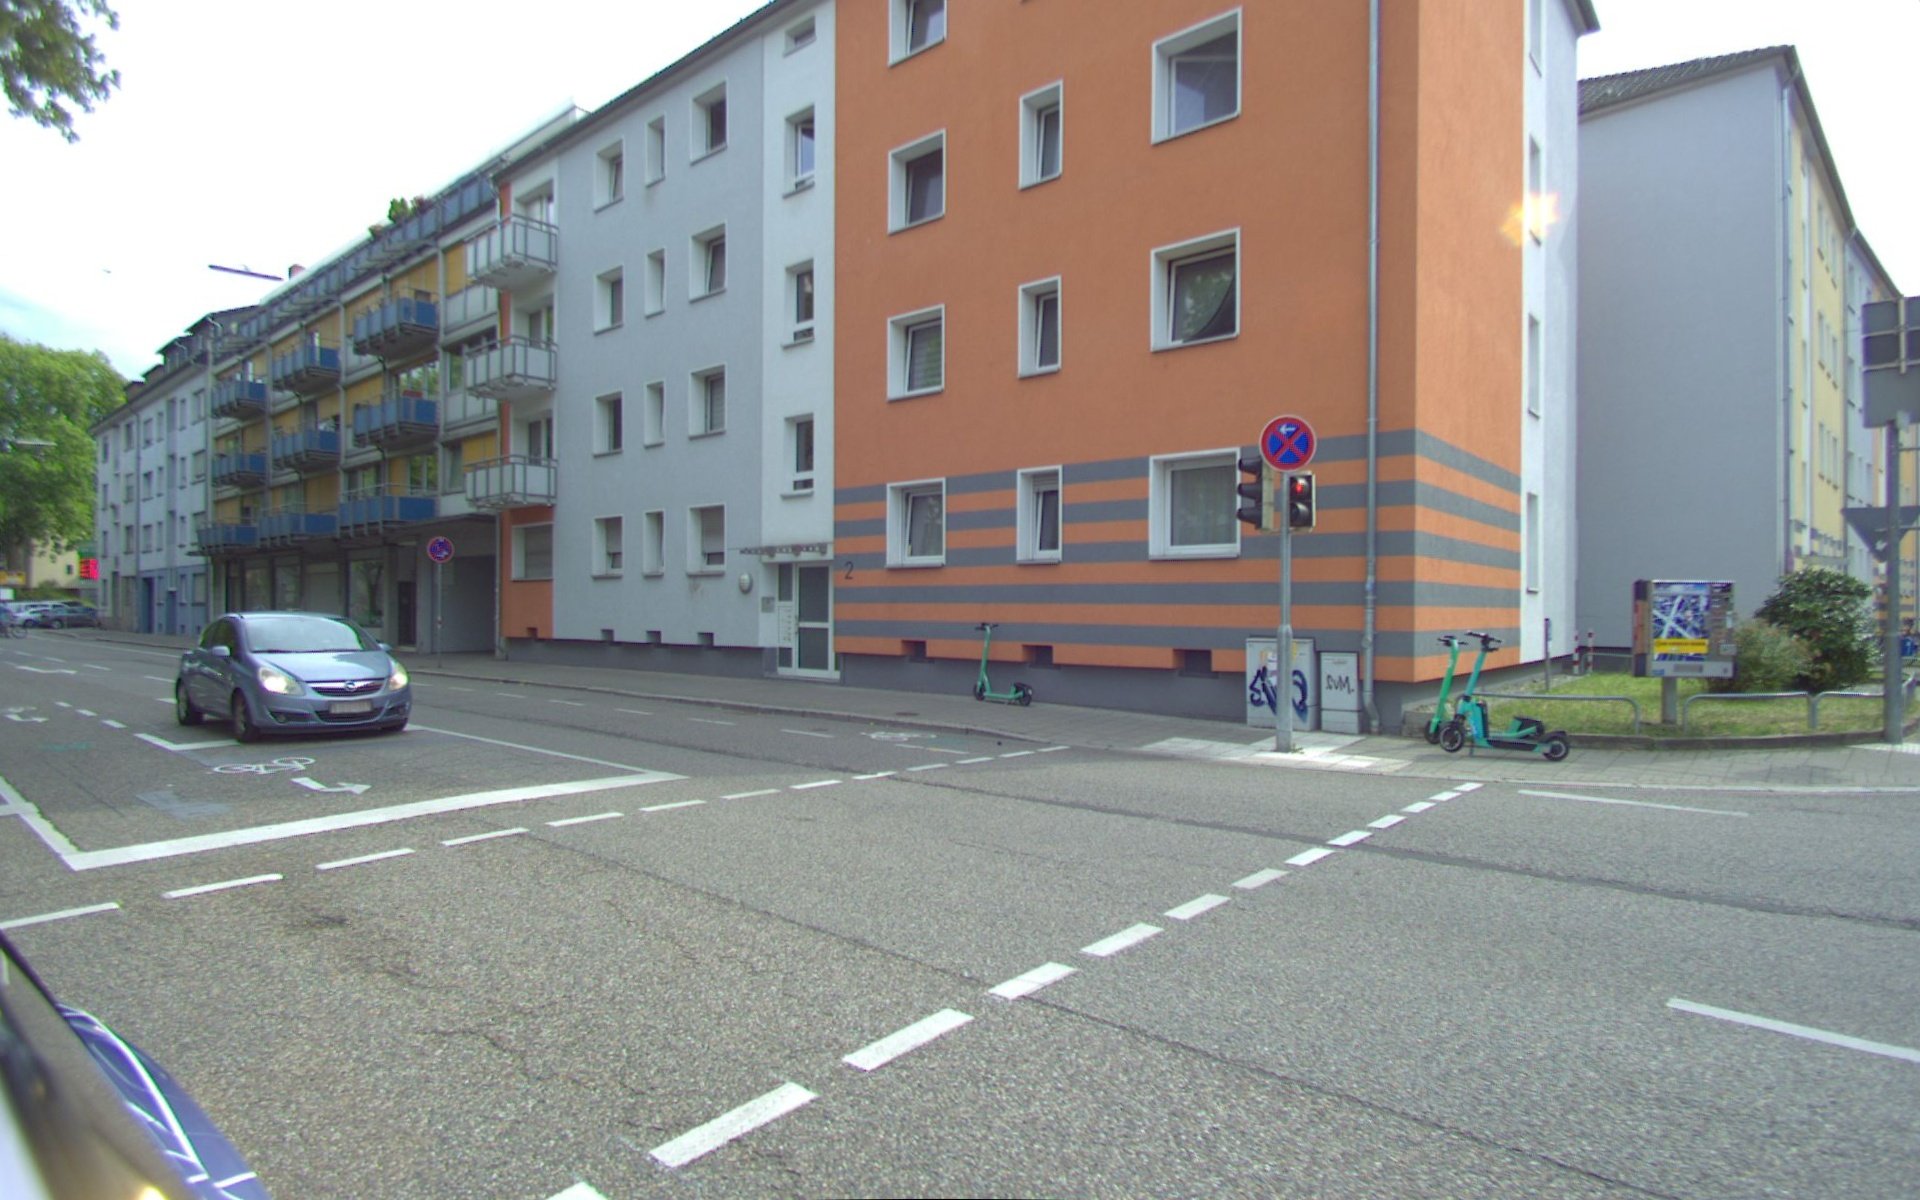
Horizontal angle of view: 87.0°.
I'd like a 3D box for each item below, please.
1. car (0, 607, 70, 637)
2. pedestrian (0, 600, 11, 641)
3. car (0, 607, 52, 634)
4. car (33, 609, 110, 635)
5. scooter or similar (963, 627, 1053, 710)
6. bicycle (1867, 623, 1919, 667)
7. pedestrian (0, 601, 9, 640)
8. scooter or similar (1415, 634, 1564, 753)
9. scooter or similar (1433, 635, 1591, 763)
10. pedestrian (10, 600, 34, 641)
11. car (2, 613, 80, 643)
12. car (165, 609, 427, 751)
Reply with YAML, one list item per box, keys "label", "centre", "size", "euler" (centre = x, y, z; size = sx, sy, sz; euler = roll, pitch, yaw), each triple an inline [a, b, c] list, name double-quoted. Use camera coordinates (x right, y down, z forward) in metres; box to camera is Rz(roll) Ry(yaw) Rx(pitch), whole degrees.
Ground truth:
- label: "car"
  centre: [-69.152, 1.614, 75.435]
  size: [1.999, 2.029, 3.947]
  euler: [-1, 1, 40]
- label: "pedestrian"
  centre: [-48.165, 1.048, 50.707]
  size: [0.831, 2.029, 0.875]
  euler: [-2, 1, -45]
- label: "car"
  centre: [-75.973, 1.622, 81.505]
  size: [1.999, 2.029, 3.947]
  euler: [-1, 1, 40]
- label: "car"
  centre: [-62.651, 1.514, 71.397]
  size: [1.881, 1.701, 3.822]
  euler: [-1, 1, 40]
- label: "scooter or similar"
  centre: [0.681, 0.967, 14.670]
  size: [1.353, 1.132, 0.364]
  euler: [-1, 1, 42]
- label: "bicycle"
  centre: [22.850, 1.067, 24.069]
  size: [1.867, 1.019, 0.554]
  euler: [-1, 1, 45]
- label: "pedestrian"
  centre: [-49.805, 1.069, 52.368]
  size: [0.831, 2.029, 0.875]
  euler: [-2, 1, -45]
- label: "scooter or similar"
  centre: [5.525, 0.953, 10.604]
  size: [1.348, 1.166, 0.327]
  euler: [-1, 0, 28]
- label: "scooter or similar"
  centre: [5.430, 0.953, 10.011]
  size: [1.337, 1.188, 0.327]
  euler: [-1, 0, 28]
- label: "pedestrian"
  centre: [-47.690, 1.029, 51.427]
  size: [0.831, 2.029, 0.875]
  euler: [-2, 1, -45]
- label: "car"
  centre: [-66.988, 2.018, 73.803]
  size: [1.999, 2.029, 3.947]
  euler: [-1, 1, 40]
- label: "car"
  centre: [-8.074, 0.838, 12.184]
  size: [3.818, 1.449, 1.651]
  euler: [-1, -1, 41]
